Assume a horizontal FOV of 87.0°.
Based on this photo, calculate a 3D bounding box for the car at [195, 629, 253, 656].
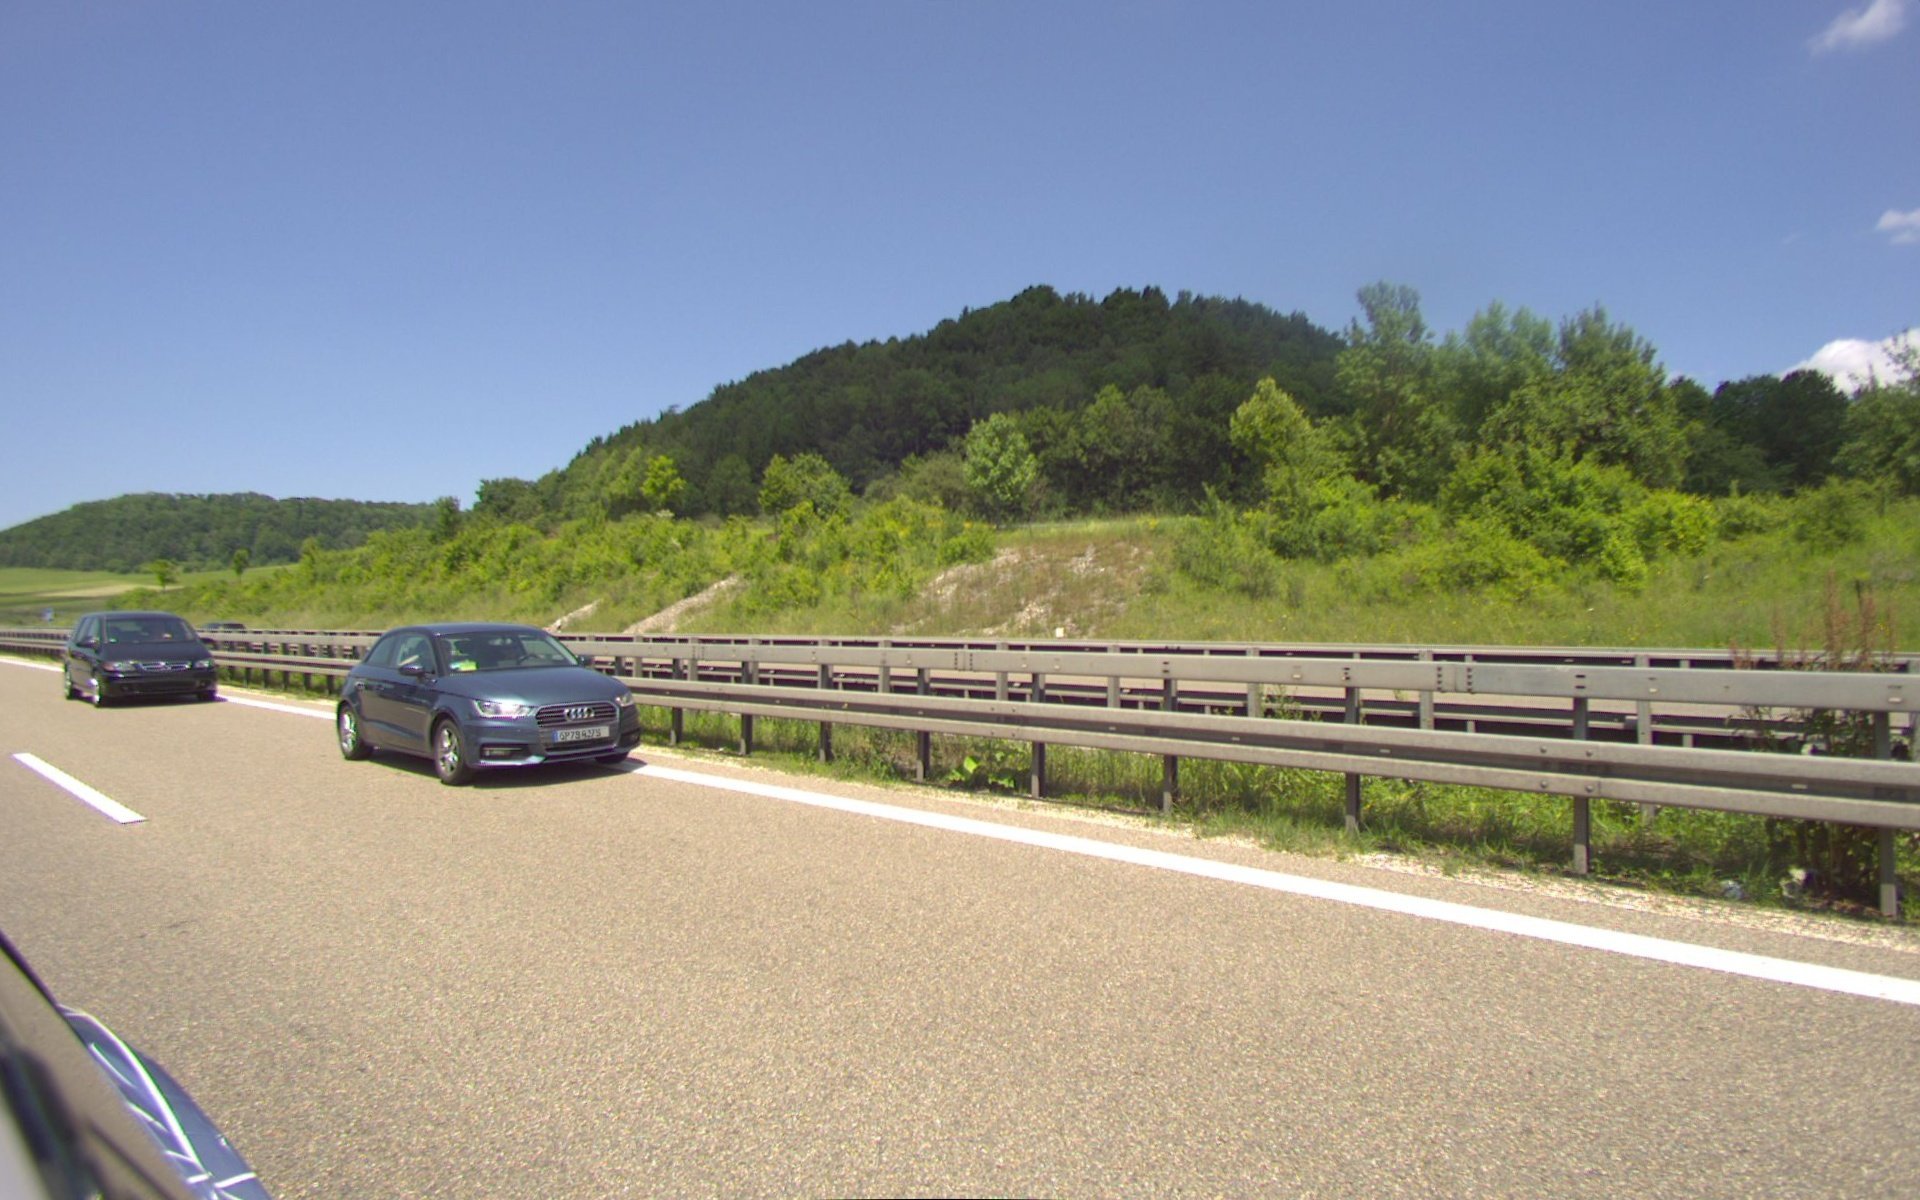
[{"bbox_3d":[-38.826,2.215,53.387,3.739,1.379,1.673,-1,-1,41],"label":"car"}]

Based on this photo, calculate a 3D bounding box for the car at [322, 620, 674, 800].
[{"bbox_3d":[-4.641,0.913,9.907,3.998,1.399,1.671,-1,-1,42],"label":"car"}]

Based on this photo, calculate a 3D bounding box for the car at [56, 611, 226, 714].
[{"bbox_3d":[-14.956,1.048,18.394,4.446,1.647,1.781,-1,-1,43],"label":"car"}]
